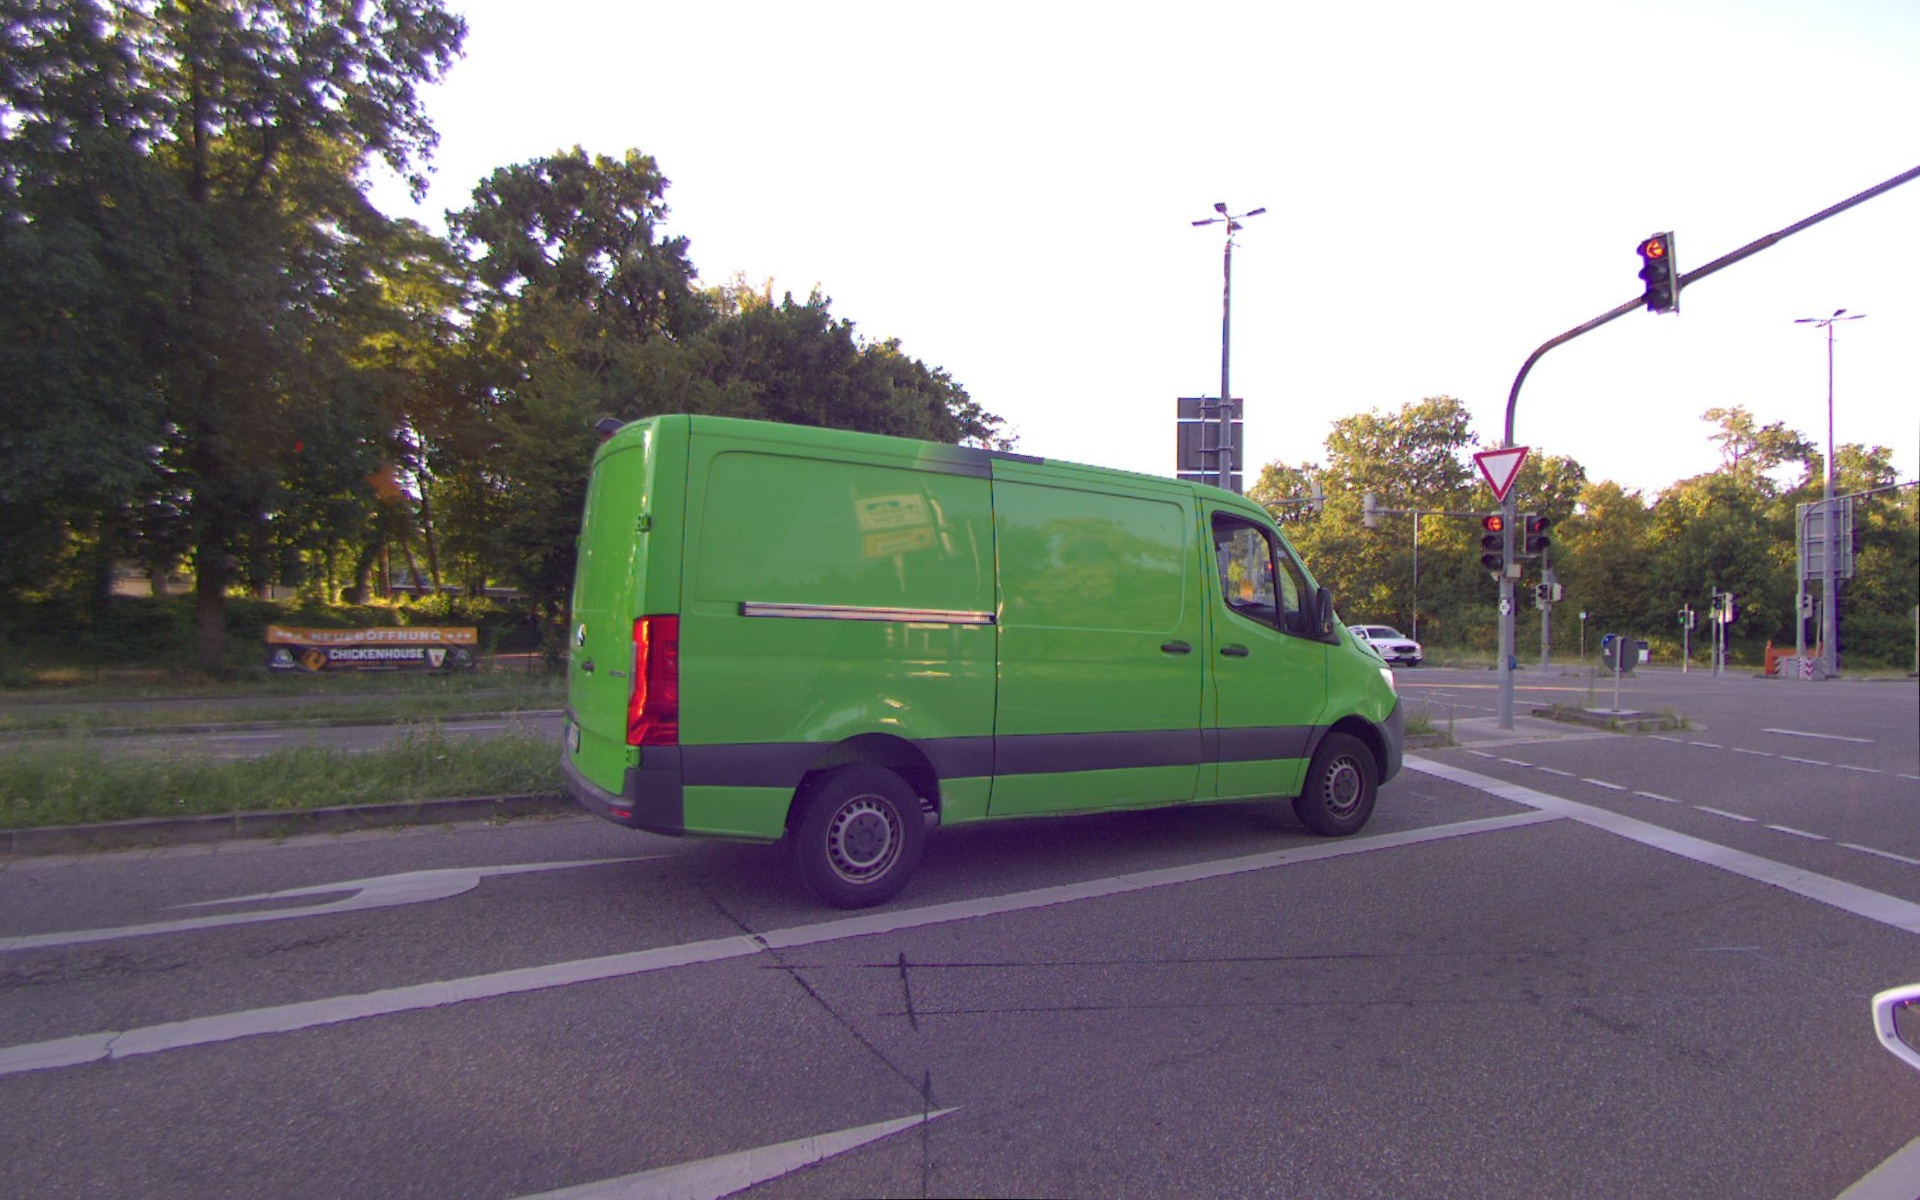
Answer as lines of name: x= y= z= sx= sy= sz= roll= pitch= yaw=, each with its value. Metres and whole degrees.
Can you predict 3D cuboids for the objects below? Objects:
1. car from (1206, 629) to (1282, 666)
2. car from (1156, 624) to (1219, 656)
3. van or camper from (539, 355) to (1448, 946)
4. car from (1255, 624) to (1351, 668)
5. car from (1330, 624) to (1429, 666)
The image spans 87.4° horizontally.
car: x=13.499 y=2.224 z=48.048 sx=1.963 sy=1.661 sz=4.252 roll=1 pitch=-1 yaw=-8
car: x=12.686 y=2.213 z=56.201 sx=1.964 sy=1.661 sz=4.250 roll=1 pitch=-1 yaw=-10
van or camper: x=0.537 y=0.288 z=6.567 sx=5.830 sy=2.453 sz=1.983 roll=2 pitch=-1 yaw=-32
car: x=13.808 y=1.812 z=40.700 sx=1.963 sy=1.661 sz=4.252 roll=1 pitch=-1 yaw=-8
car: x=17.495 y=1.846 z=42.106 sx=1.963 sy=1.661 sz=4.252 roll=1 pitch=-1 yaw=-8
